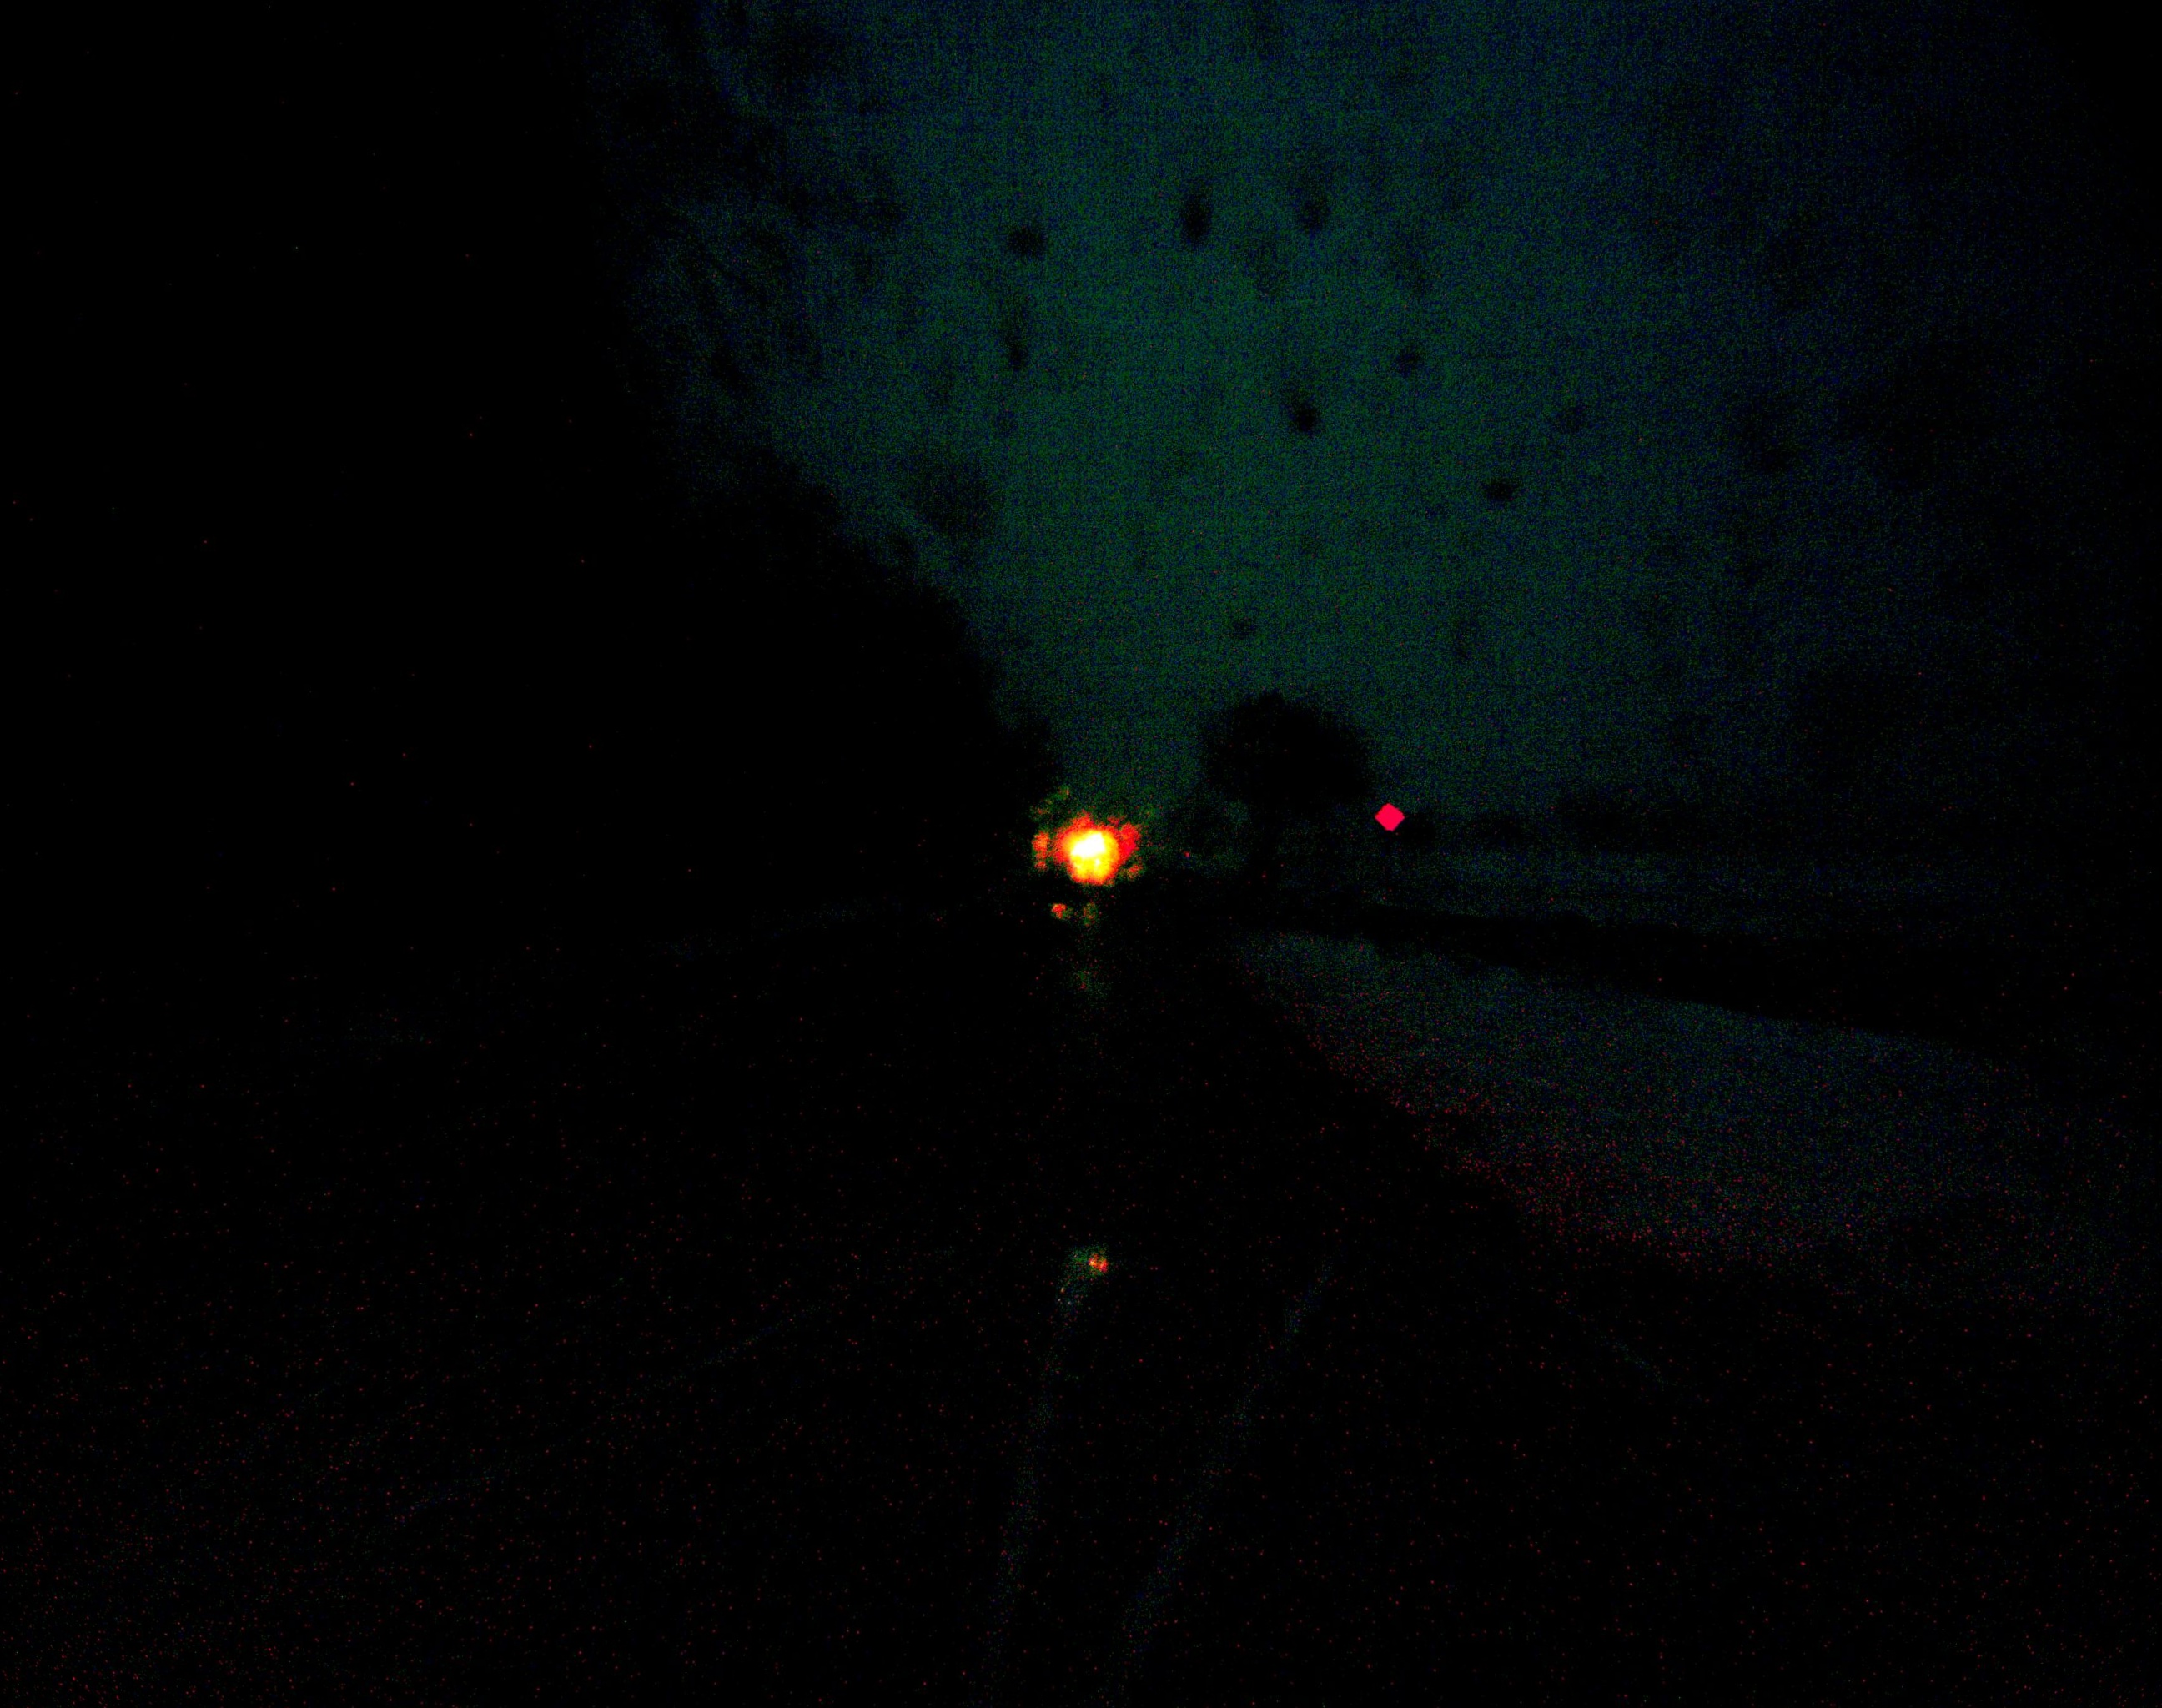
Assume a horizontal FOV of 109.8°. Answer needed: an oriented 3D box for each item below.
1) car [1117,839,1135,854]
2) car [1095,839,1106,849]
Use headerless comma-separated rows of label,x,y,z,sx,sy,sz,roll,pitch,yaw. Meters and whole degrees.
car,5.823,-1.003,98.739,1.998,1.796,3.999,-2,1,1
car,3.512,-1.833,136.910,1.998,1.796,3.999,-2,1,1
